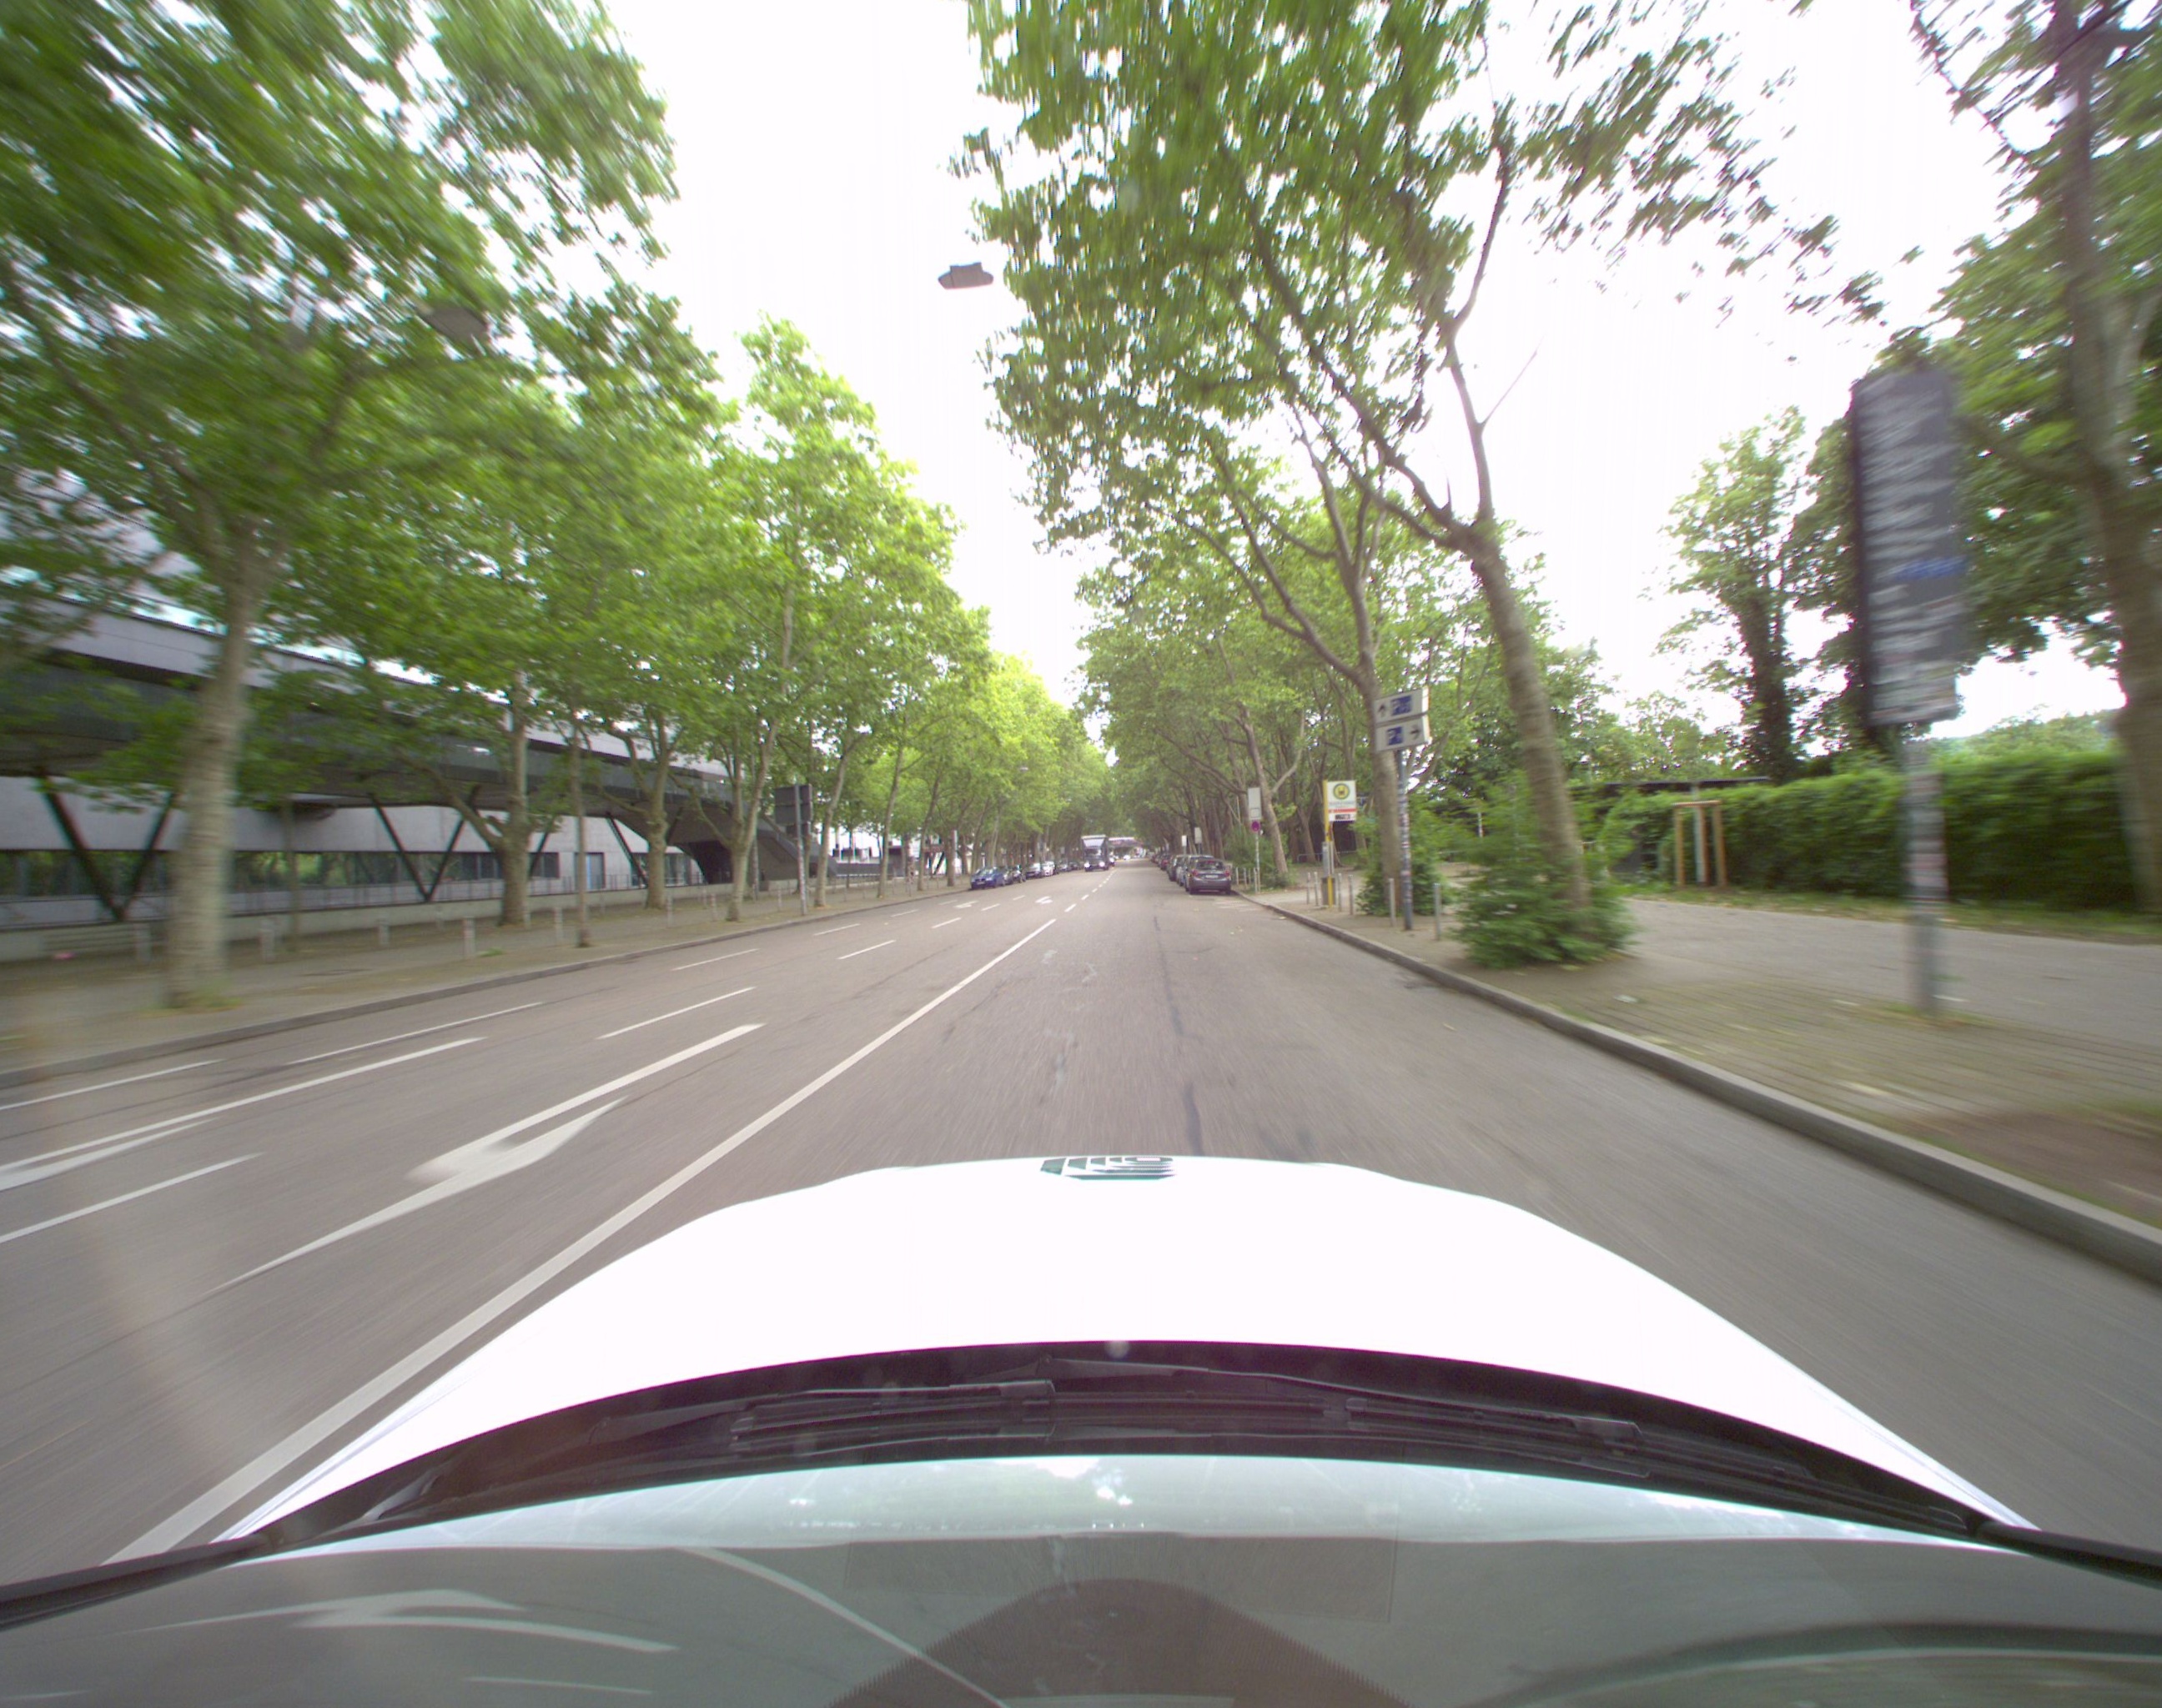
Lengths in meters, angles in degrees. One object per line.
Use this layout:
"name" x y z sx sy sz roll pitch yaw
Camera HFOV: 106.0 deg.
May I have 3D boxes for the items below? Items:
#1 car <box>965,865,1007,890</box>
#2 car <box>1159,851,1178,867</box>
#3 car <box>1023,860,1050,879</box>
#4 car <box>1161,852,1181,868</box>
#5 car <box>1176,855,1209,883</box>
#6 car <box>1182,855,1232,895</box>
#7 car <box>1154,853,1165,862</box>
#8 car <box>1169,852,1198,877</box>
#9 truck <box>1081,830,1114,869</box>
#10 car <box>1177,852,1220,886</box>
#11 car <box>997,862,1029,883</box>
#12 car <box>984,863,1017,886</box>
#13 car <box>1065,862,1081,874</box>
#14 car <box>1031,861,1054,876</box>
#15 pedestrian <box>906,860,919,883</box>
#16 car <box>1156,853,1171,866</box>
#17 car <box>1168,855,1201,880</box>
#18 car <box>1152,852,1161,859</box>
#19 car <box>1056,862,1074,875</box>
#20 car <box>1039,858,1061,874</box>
"car" -6.182 1.513 53.216 1.685 1.418 3.770 -6 -1 8
"car" 9.275 0.550 86.628 1.748 1.534 3.933 -3 0 4
"car" -3.954 1.384 72.920 1.758 1.418 3.765 -6 -1 4
"car" 8.907 0.628 80.778 1.748 1.534 3.933 0 0 4
"car" 6.163 0.812 45.263 1.667 1.490 3.692 1 0 6
"car" 5.274 0.845 34.561 1.691 1.519 4.459 1 0 4
"car" 13.650 0.615 141.768 1.748 1.534 3.933 -4 -1 4
"car" 6.980 0.701 55.539 1.748 1.597 3.933 0 0 4
"truck" 1.929 -0.462 91.087 2.627 3.901 9.557 -4 -1 6
"car" 5.758 0.710 40.290 1.712 1.567 4.096 1 0 2
"car" -5.238 1.421 63.143 1.758 1.418 3.765 -6 -1 4
"car" -5.703 1.459 58.213 1.760 1.418 3.761 -6 -1 1
"car" -1.126 1.931 112.599 1.887 1.438 4.002 -4 -2 2
"car" -3.731 1.417 80.073 1.725 1.332 4.003 -4 -2 3
"pedestrian" -13.665 1.388 66.104 0.775 1.835 0.870 -2 0 -31
"car" 10.146 0.651 100.336 1.748 1.534 3.933 -3 0 4
"car" 6.330 0.801 49.969 1.748 1.490 4.421 1 0 4
"car" 15.127 0.302 163.378 1.748 1.534 3.933 0 0 4
"car" -1.904 1.818 100.083 1.887 1.438 4.002 -4 -2 2
"car" -3.236 1.259 85.710 1.887 1.438 4.002 -4 -2 2
